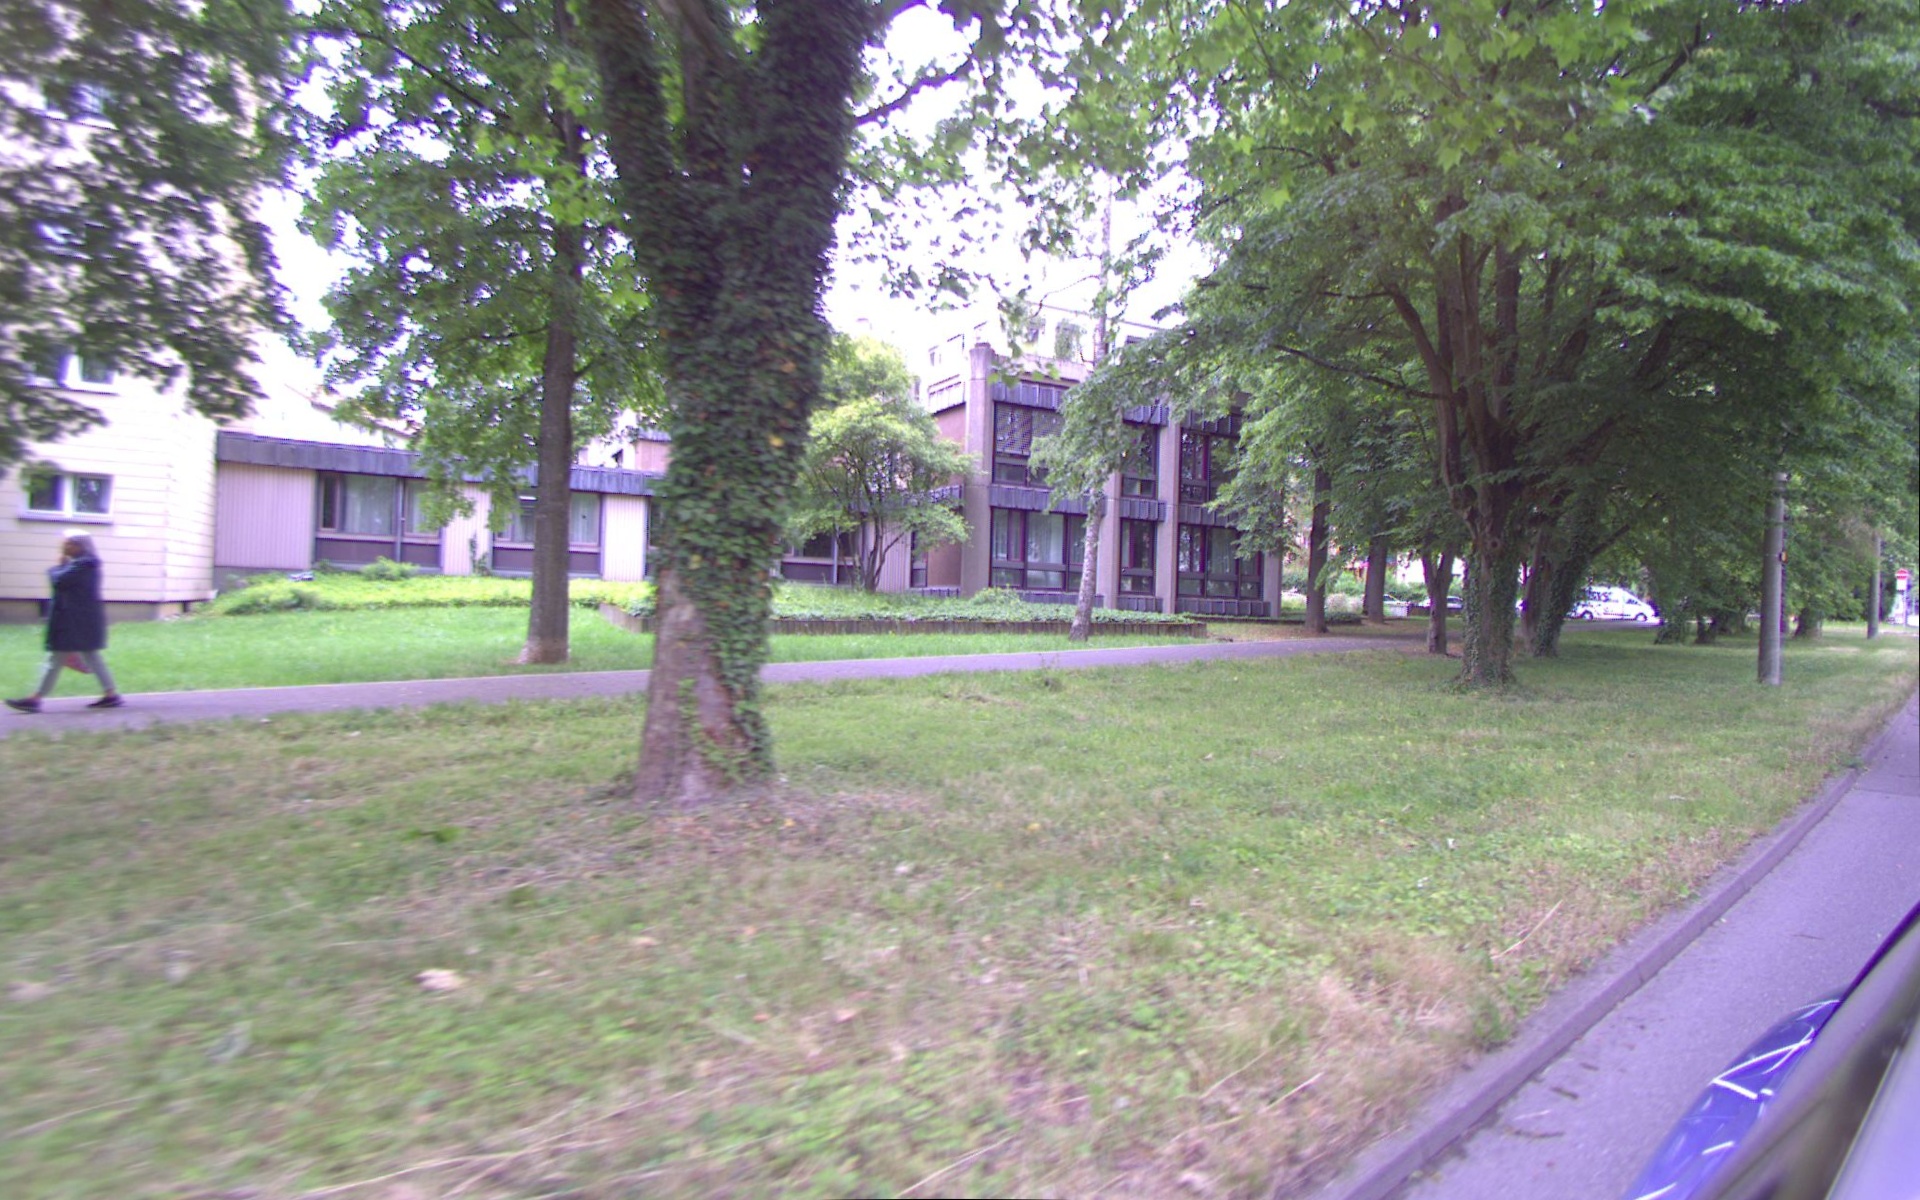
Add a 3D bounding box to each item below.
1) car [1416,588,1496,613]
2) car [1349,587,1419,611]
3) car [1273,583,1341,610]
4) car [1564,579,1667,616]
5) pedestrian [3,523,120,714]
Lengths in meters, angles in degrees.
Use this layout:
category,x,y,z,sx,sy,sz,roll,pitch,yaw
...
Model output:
category,x,y,z,sx,sy,sz,roll,pitch,yaw
car,33.591,0.029,68.648,4.516,1.529,1.800,1,0,0
car,28.750,-0.064,68.707,3.922,1.529,1.801,1,0,-3
car,23.464,-0.247,68.462,3.922,1.695,1.801,1,0,-2
car,43.940,-0.196,67.940,5.244,2.328,2.284,1,0,12
pedestrian,-8.516,0.148,9.590,0.801,1.707,0.768,0,2,-44
